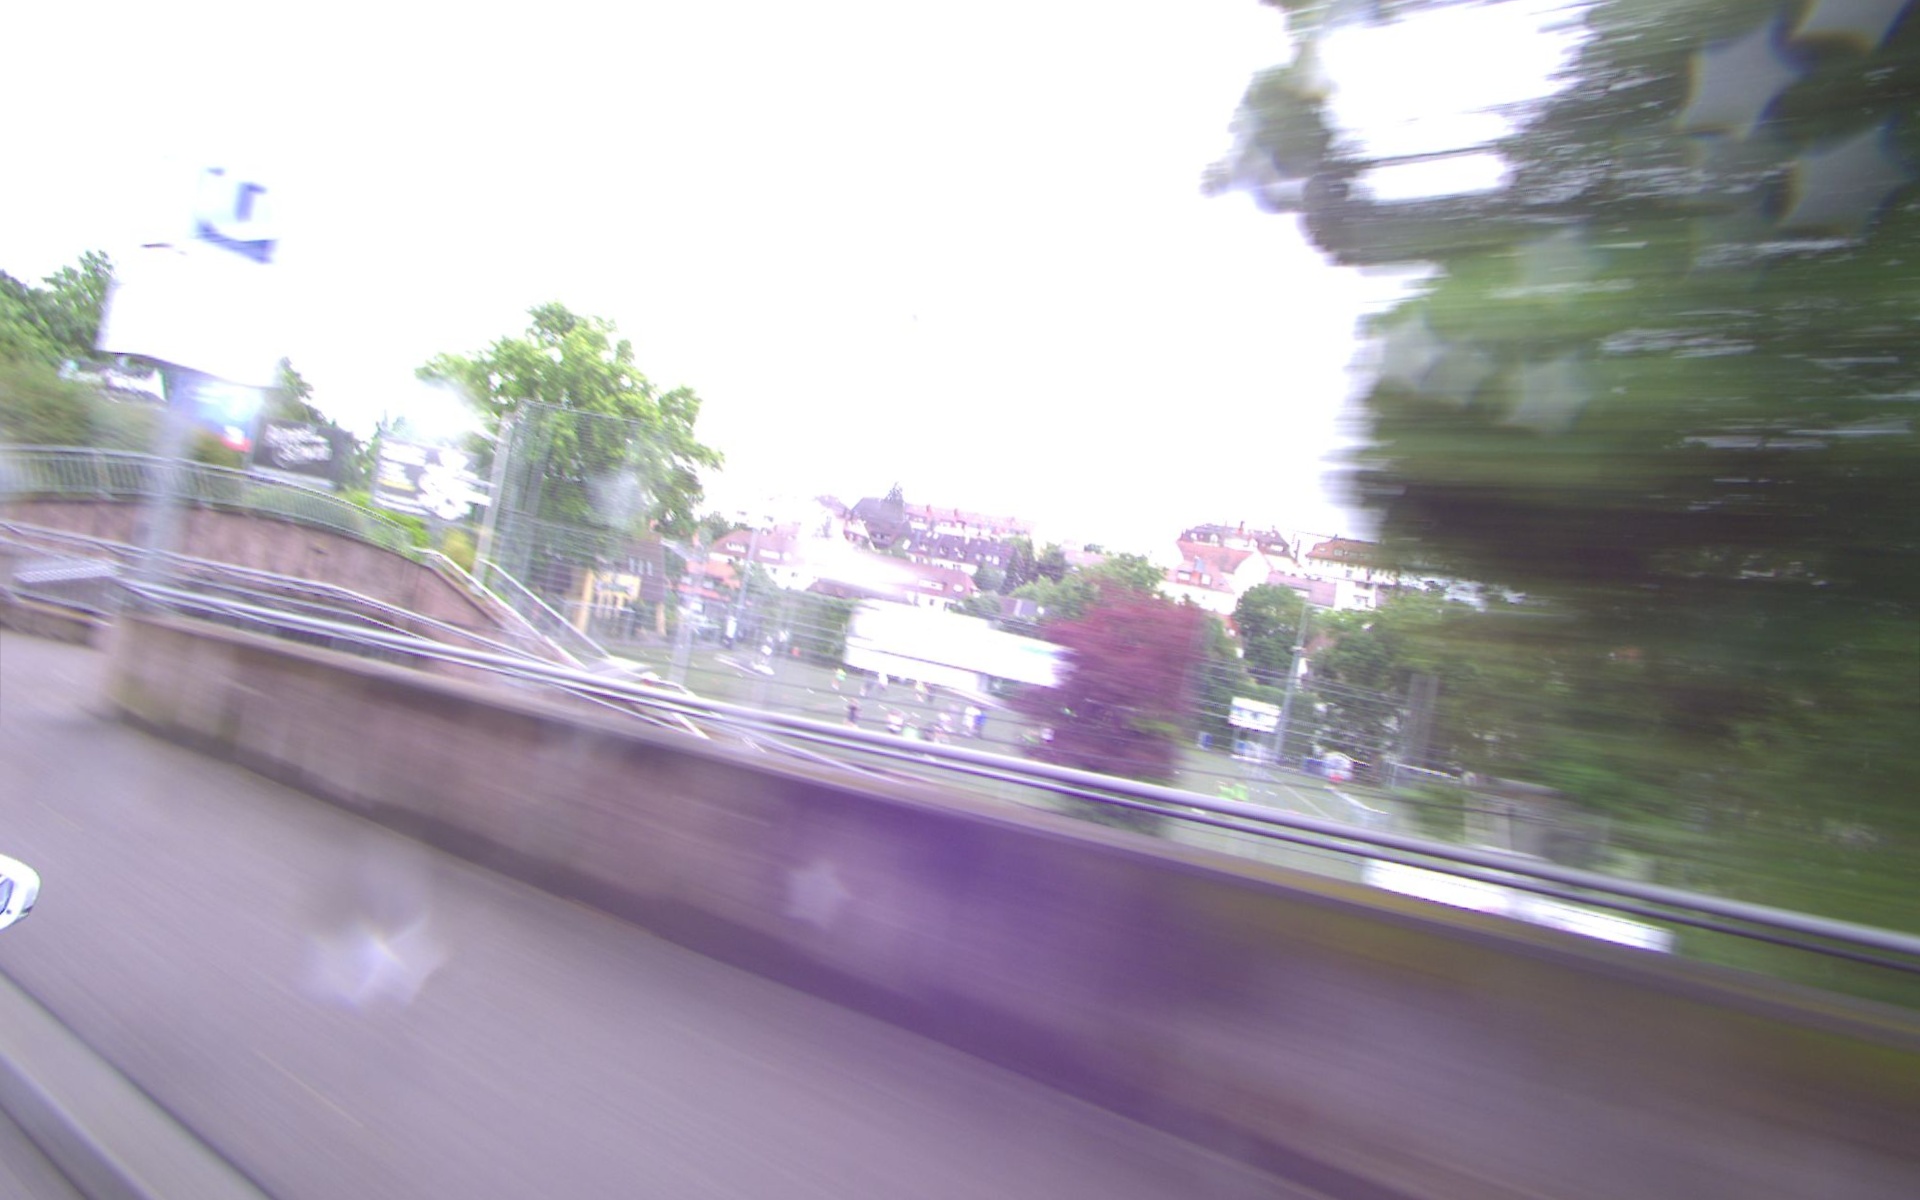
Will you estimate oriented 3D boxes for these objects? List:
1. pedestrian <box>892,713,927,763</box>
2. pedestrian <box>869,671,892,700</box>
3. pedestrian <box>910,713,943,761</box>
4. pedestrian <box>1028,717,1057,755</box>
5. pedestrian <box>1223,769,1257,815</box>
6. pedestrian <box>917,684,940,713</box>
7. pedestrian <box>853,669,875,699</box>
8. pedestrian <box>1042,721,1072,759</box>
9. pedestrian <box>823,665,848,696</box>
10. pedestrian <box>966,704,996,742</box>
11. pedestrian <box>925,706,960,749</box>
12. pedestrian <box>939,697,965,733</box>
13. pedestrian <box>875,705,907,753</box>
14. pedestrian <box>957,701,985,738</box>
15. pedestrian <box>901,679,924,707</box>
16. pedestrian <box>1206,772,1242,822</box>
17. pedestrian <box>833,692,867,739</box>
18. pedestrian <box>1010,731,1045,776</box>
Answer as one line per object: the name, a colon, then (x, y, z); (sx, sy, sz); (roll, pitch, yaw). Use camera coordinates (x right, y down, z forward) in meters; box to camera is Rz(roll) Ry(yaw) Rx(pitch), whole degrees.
pedestrian: (-2.054, 5.581, 40.733); (0.848, 1.848, 1.038); (8, -6, 15)
pedestrian: (-5.884, 6.315, 74.235); (1.019, 1.848, 0.969); (5, -7, 37)
pedestrian: (-1.414, 5.780, 42.369); (0.951, 1.848, 1.038); (9, -6, 8)
pedestrian: (4.535, 7.461, 55.152); (0.953, 1.848, 1.036); (7, -7, 29)
pedestrian: (12.595, 8.632, 45.259); (1.017, 1.848, 0.971); (6, -7, 31)
pedestrian: (-2.229, 7.045, 71.746); (1.019, 1.848, 0.969); (5, -7, 37)
pedestrian: (-6.530, 5.756, 68.582); (0.951, 1.848, 1.038); (9, -6, 9)
pedestrian: (5.259, 7.586, 54.486); (0.954, 1.848, 1.035); (6, -7, 33)
pedestrian: (-8.497, 5.524, 68.912); (1.019, 1.848, 0.969); (5, -7, 37)
pedestrian: (1.152, 6.699, 54.798); (1.031, 1.848, 0.958); (16, -8, -44)
pedestrian: (-0.838, 6.101, 48.238); (1.027, 1.848, 0.961); (14, -7, -35)
pedestrian: (-0.455, 6.377, 55.984); (0.954, 1.848, 1.035); (11, -6, -10)
pedestrian: (-2.922, 5.449, 42.528); (0.954, 1.848, 1.034); (11, -6, -11)
pedestrian: (0.613, 6.601, 55.654); (0.953, 1.848, 1.036); (7, -7, 29)
pedestrian: (-3.460, 6.785, 73.416); (1.019, 1.848, 0.969); (5, -7, 37)
pedestrian: (10.934, 8.148, 41.649); (1.017, 1.848, 0.971); (6, -7, 31)
pedestrian: (-4.786, 5.011, 43.764); (0.958, 1.848, 1.031); (12, -6, -21)
pedestrian: (3.058, 6.962, 45.633); (1.017, 1.848, 0.971); (6, -7, 31)
